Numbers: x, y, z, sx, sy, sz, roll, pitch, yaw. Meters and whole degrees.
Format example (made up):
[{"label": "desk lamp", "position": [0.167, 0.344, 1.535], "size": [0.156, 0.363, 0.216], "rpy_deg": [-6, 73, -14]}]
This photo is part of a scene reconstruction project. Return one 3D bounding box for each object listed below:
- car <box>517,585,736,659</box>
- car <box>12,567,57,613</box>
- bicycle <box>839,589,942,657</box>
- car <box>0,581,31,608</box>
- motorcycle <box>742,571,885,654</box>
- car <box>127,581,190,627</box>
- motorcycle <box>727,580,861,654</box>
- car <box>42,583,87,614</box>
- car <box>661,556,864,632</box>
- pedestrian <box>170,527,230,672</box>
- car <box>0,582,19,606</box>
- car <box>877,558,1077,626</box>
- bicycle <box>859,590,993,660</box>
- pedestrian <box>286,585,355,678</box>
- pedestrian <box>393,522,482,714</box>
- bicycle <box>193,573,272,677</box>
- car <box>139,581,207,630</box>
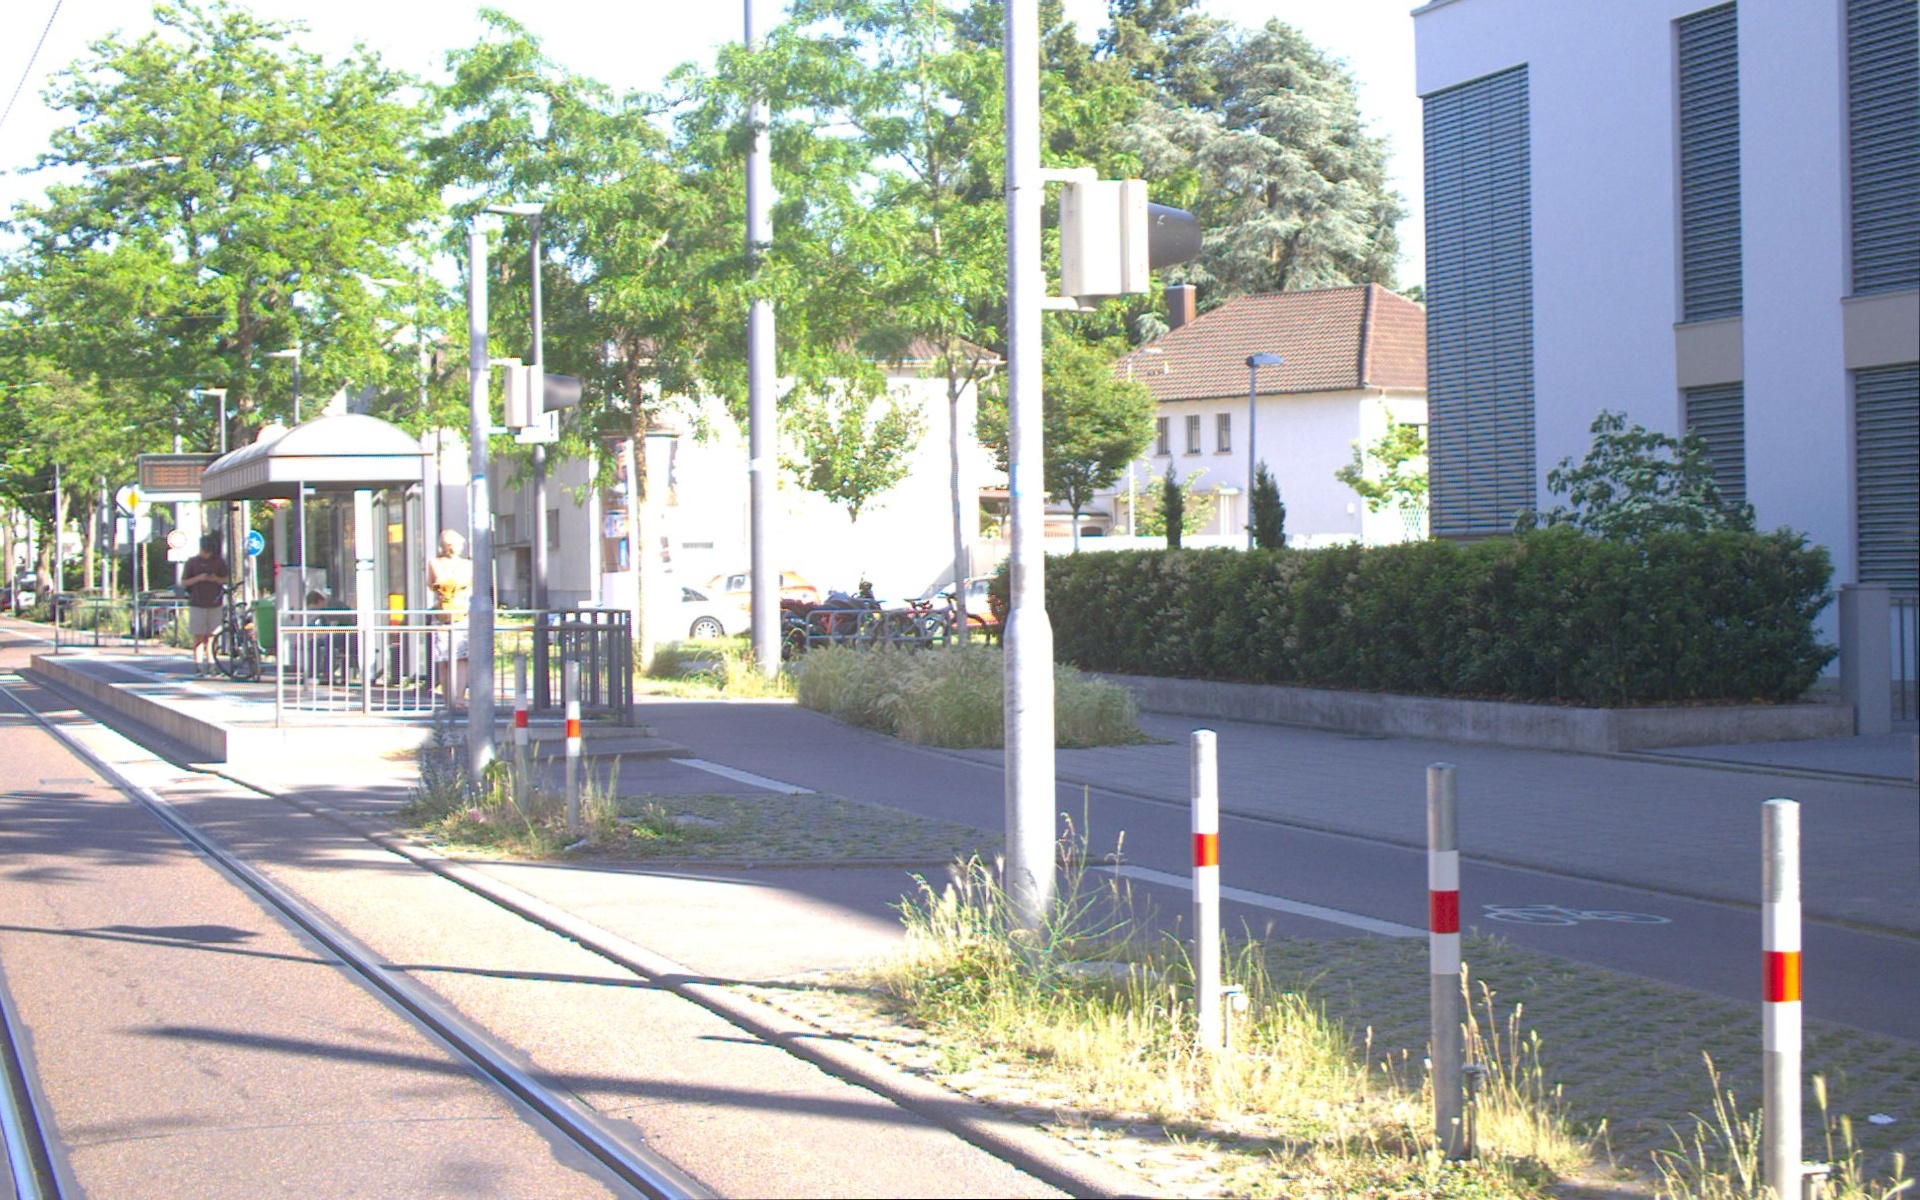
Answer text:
[{"label": "car", "position": [-7.235, 0.484, 74.392], "size": [4.602, 1.461, 1.982], "rpy_deg": [-1, -1, -8]}, {"label": "car", "position": [-54.696, -0.595, 203.166], "size": [2.245, 2.645, 5.587], "rpy_deg": [-1, 1, -18]}, {"label": "bicycle", "position": [-1.046, 0.346, 51.695], "size": [1.469, 0.975, 0.416], "rpy_deg": [-2, 0, -24]}, {"label": "car", "position": [-64.393, -0.375, 233.927], "size": [2.002, 1.669, 4.393], "rpy_deg": [-3, 1, -18]}, {"label": "motorcycle", "position": [-2.338, 0.194, 54.852], "size": [2.077, 1.270, 0.862], "rpy_deg": [-2, 1, -24]}, {"label": "car", "position": [-27.402, 0.125, 117.413], "size": [1.748, 1.490, 3.998], "rpy_deg": [-2, 1, -18]}, {"label": "motorcycle", "position": [-2.731, 0.267, 56.469], "size": [1.998, 1.154, 0.862], "rpy_deg": [-2, 1, -24]}, {"label": "car", "position": [-45.211, -0.087, 173.555], "size": [1.783, 1.443, 4.302], "rpy_deg": [-4, 2, -19]}, {"label": "car", "position": [-4.468, -0.146, 77.661], "size": [4.161, 1.636, 1.982], "rpy_deg": [-1, 0, -19]}, {"label": "pedestrian", "position": [-9.833, -0.006, 44.472], "size": [0.711, 1.847, 0.729], "rpy_deg": [0, 0, -16]}, {"label": "car", "position": [-69.700, -0.445, 250.565], "size": [2.002, 1.669, 4.393], "rpy_deg": [-3, 1, -14]}, {"label": "car", "position": [0.397, -0.199, 79.607], "size": [4.161, 1.503, 1.982], "rpy_deg": [-1, 0, -24]}, {"label": "bicycle", "position": [-0.489, 0.363, 50.327], "size": [1.897, 0.975, 0.491], "rpy_deg": [-2, 0, -24]}, {"label": "pedestrian", "position": [-7.700, 0.375, 41.372], "size": [0.738, 1.113, 0.658], "rpy_deg": [0, 0, -18]}, {"label": "pedestrian", "position": [-4.675, 0.160, 30.764], "size": [0.671, 1.699, 0.691], "rpy_deg": [0, 0, -18]}, {"label": "bicycle", "position": [-8.856, 0.295, 41.801], "size": [0.619, 1.225, 1.967], "rpy_deg": [0, 0, -21]}, {"label": "car", "position": [-25.517, 0.172, 111.368], "size": [1.748, 1.490, 4.444], "rpy_deg": [-2, 1, -18]}]
